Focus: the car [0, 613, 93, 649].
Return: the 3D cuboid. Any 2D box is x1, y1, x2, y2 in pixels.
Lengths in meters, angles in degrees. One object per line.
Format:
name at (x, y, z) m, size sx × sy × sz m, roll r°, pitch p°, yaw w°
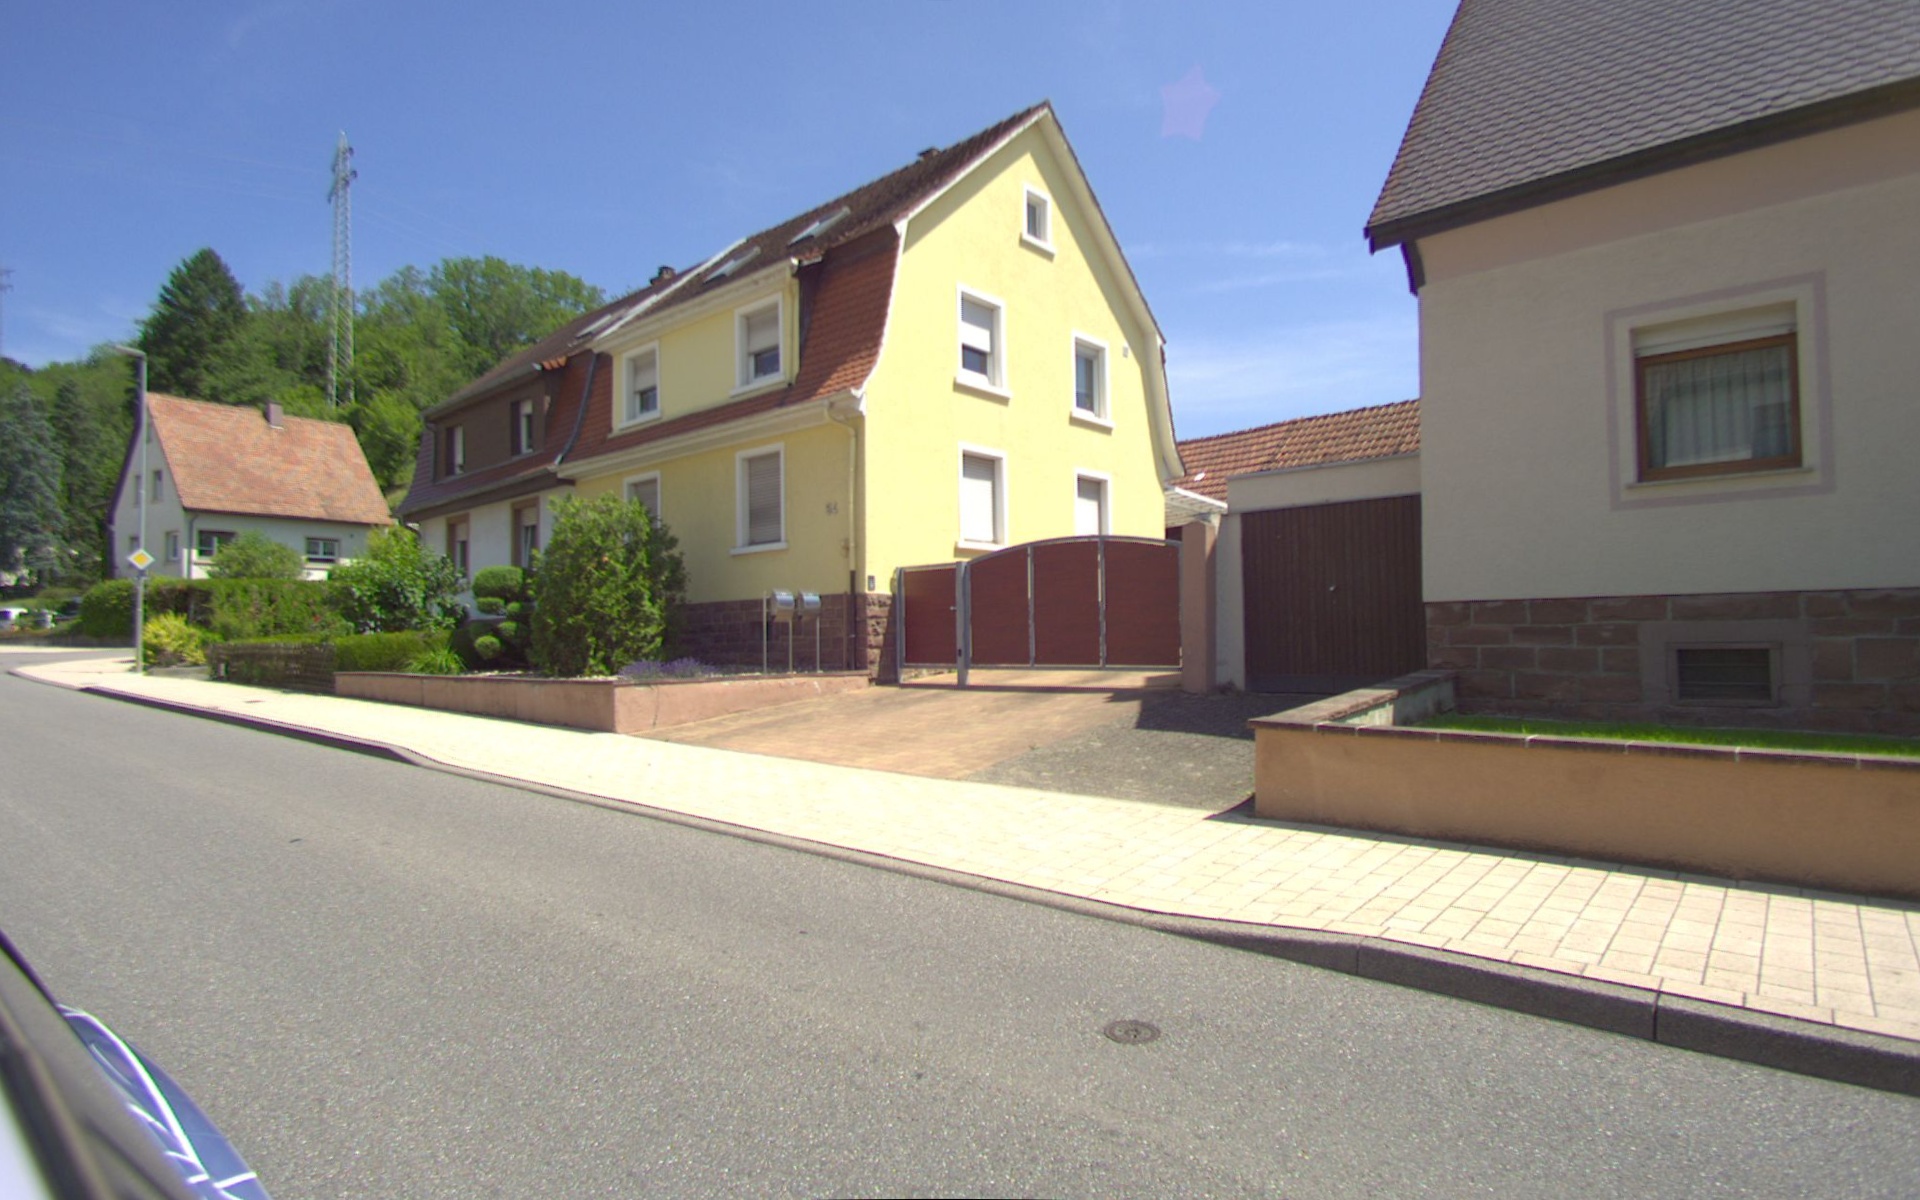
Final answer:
car at (-48.168, 1.578, 52.903) m, size 1.796 × 1.803 × 3.977 m, roll -1°, pitch -1°, yaw 17°
